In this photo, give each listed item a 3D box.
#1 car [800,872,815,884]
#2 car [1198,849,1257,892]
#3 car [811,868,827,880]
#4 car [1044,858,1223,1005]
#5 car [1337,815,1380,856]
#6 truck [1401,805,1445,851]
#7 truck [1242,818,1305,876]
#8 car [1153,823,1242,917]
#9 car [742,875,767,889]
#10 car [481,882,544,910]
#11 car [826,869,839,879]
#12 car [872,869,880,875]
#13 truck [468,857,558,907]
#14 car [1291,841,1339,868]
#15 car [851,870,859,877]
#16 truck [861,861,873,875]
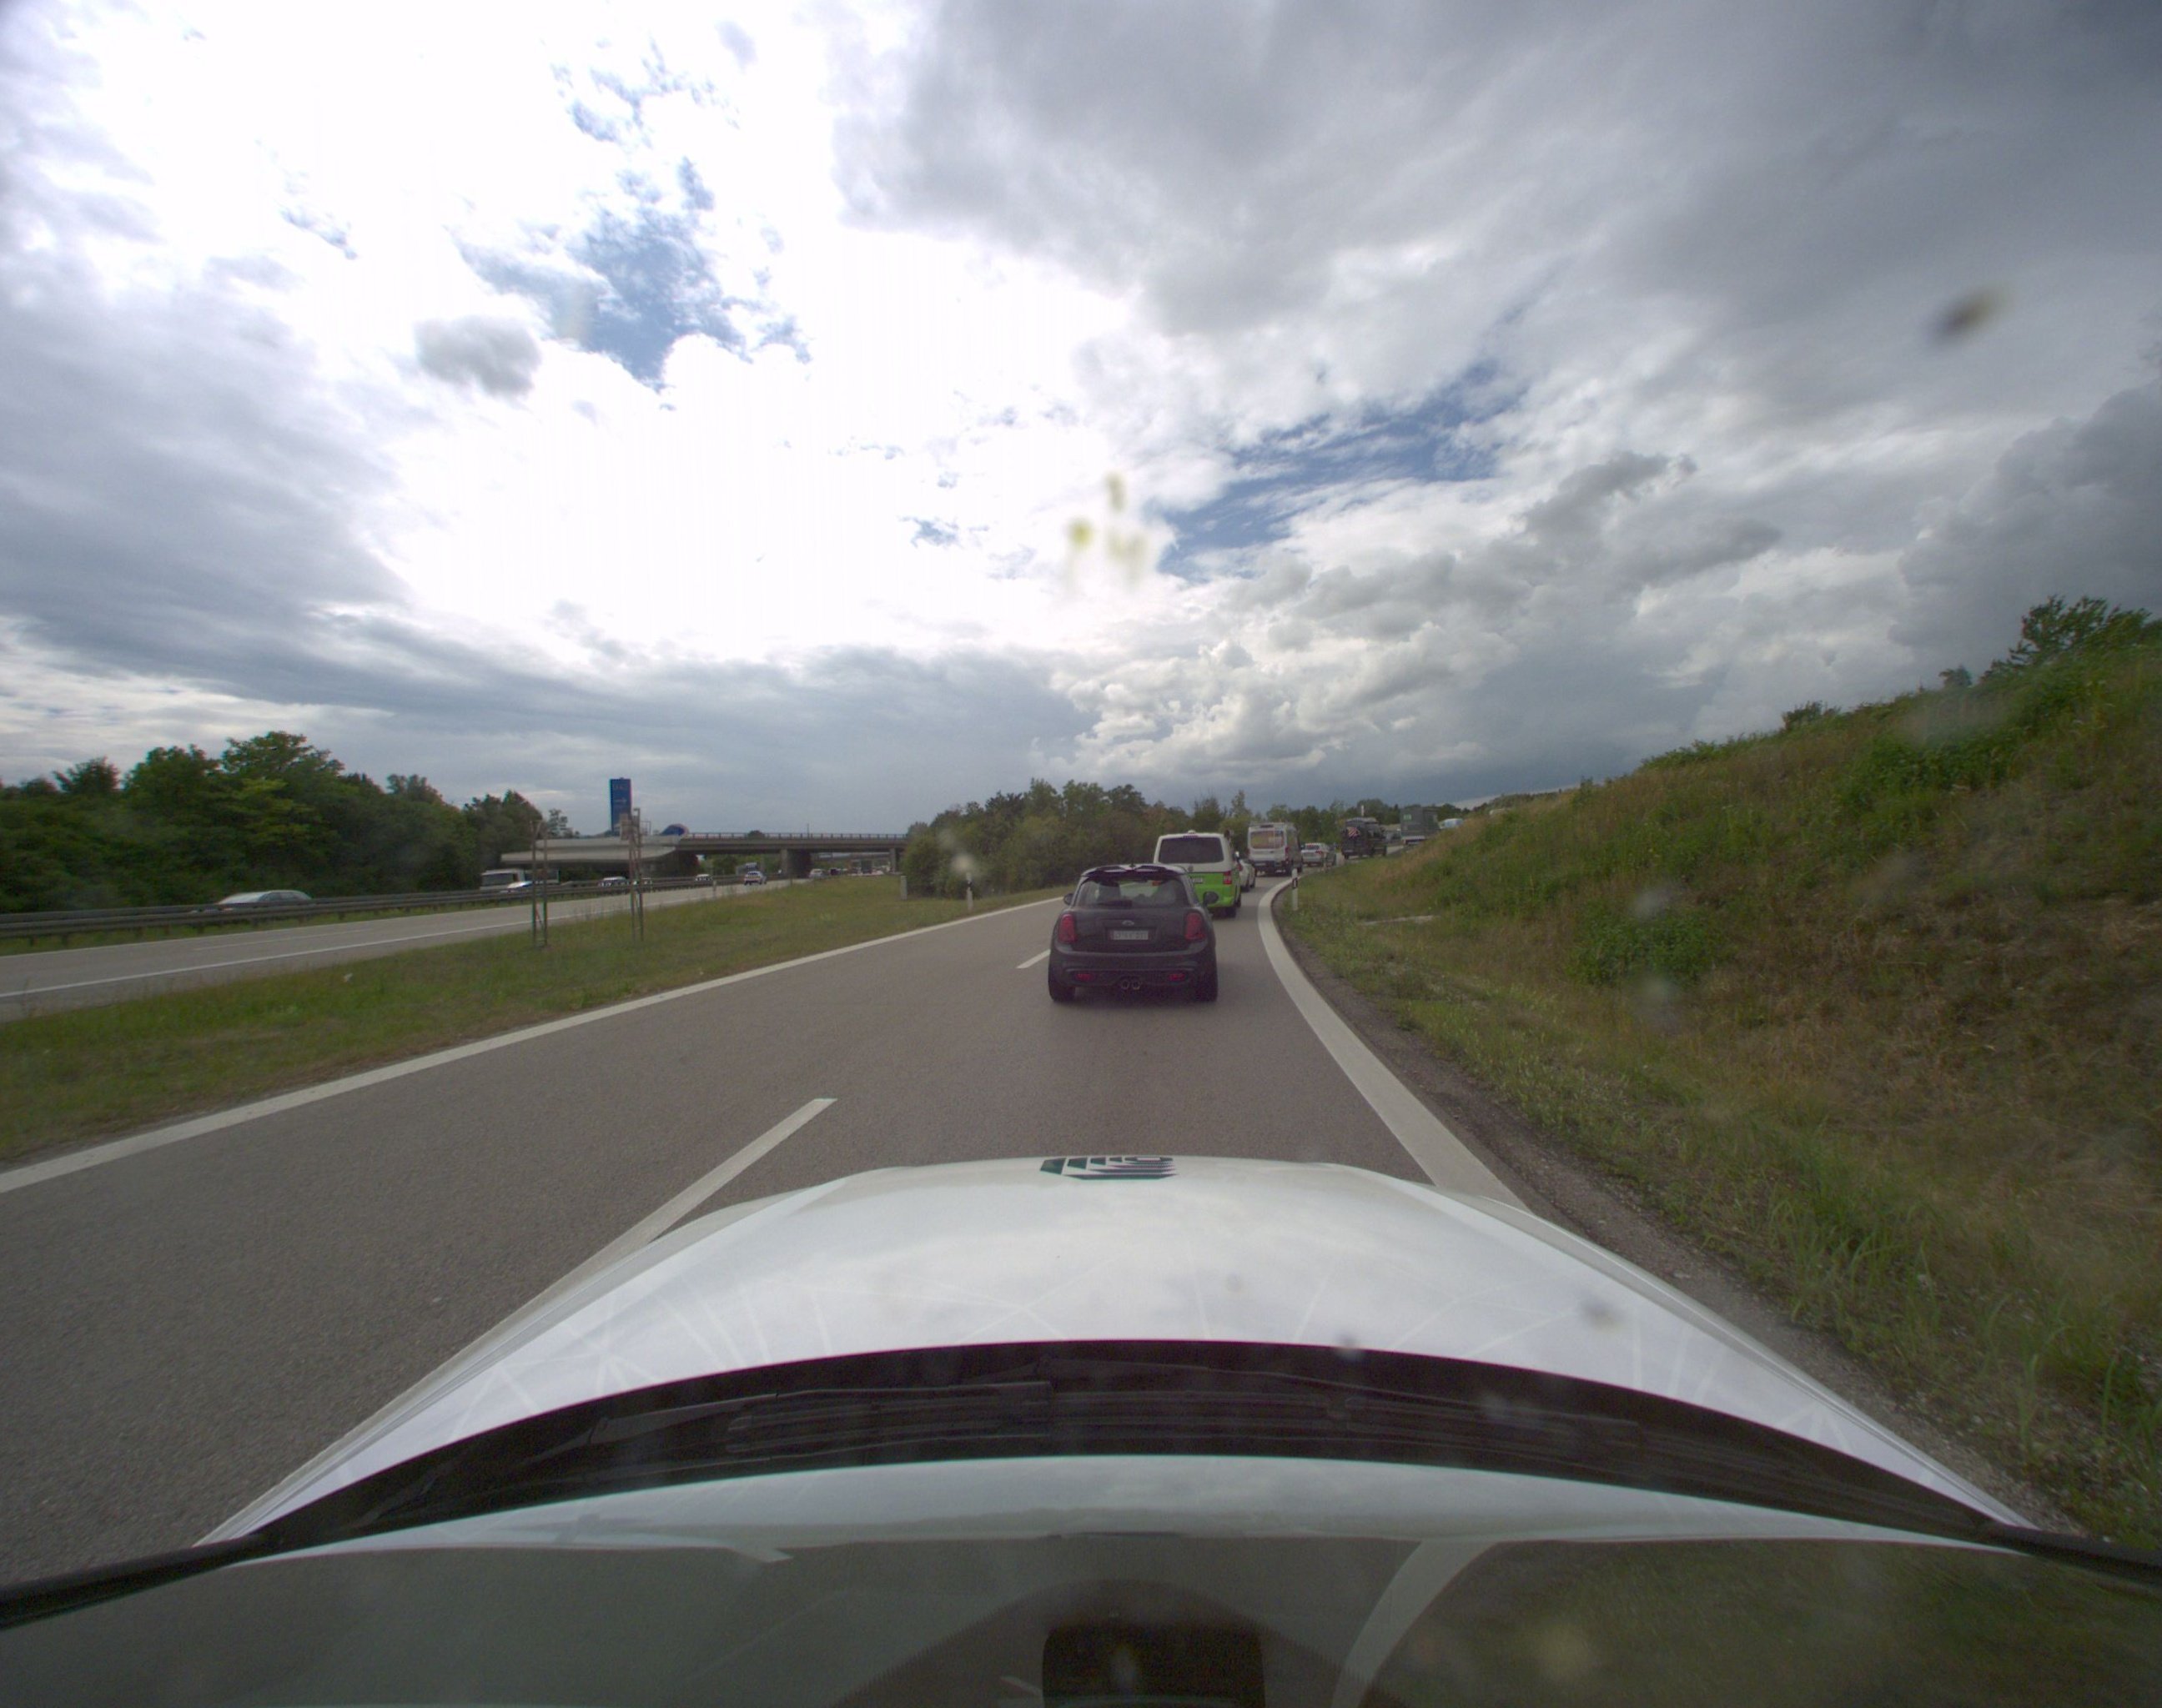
[{"bbox_3d":[-45.124,3.920,134.378,1.997,2.014,3.979,0,-2,-15],"label":"car"},{"bbox_3d":[5.331,0.570,29.383,1.749,1.399,3.740,-2,-1,15],"label":"car"},{"bbox_3d":[-35.383,2.727,110.051,1.719,1.519,3.982,-2,-1,-13],"label":"car"},{"bbox_3d":[0.745,0.776,9.759,1.717,1.413,3.733,-1,-1,7],"label":"car"},{"bbox_3d":[19.914,-1.298,58.307,2.084,2.796,4.025,-1,0,31],"label":"car"},{"bbox_3d":[31.230,-2.291,74.250,2.207,3.907,6.054,-2,-2,38],"label":"truck"},{"bbox_3d":[9.707,-0.342,40.757,2.159,2.658,5.137,-2,0,23],"label":"truck"},{"bbox_3d":[2.919,0.373,19.711,1.772,2.014,4.014,-1,-1,13],"label":"car"},{"bbox_3d":[-35.856,3.048,89.393,1.838,1.453,4.359,-2,-1,-13],"label":"car"},{"bbox_3d":[-38.388,2.799,55.094,1.995,1.629,3.984,-2,-1,-12],"label":"car"},{"bbox_3d":[-51.007,4.094,167.078,1.995,1.743,4.809,-2,-1,-12],"label":"car"},{"bbox_3d":[-62.333,5.454,247.496,1.877,1.751,4.470,-2,-1,-11],"label":"car"},{"bbox_3d":[-44.796,2.146,64.566,2.760,3.646,8.164,-2,-1,-12],"label":"truck"},{"bbox_3d":[14.275,0.041,49.603,1.848,1.510,4.025,-2,-1,30],"label":"car"},{"bbox_3d":[-60.023,5.116,216.540,1.847,1.758,4.318,-2,-1,-12],"label":"car"},{"bbox_3d":[-54.121,3.451,206.003,2.469,3.371,7.890,-2,-1,-12],"label":"truck"}]
